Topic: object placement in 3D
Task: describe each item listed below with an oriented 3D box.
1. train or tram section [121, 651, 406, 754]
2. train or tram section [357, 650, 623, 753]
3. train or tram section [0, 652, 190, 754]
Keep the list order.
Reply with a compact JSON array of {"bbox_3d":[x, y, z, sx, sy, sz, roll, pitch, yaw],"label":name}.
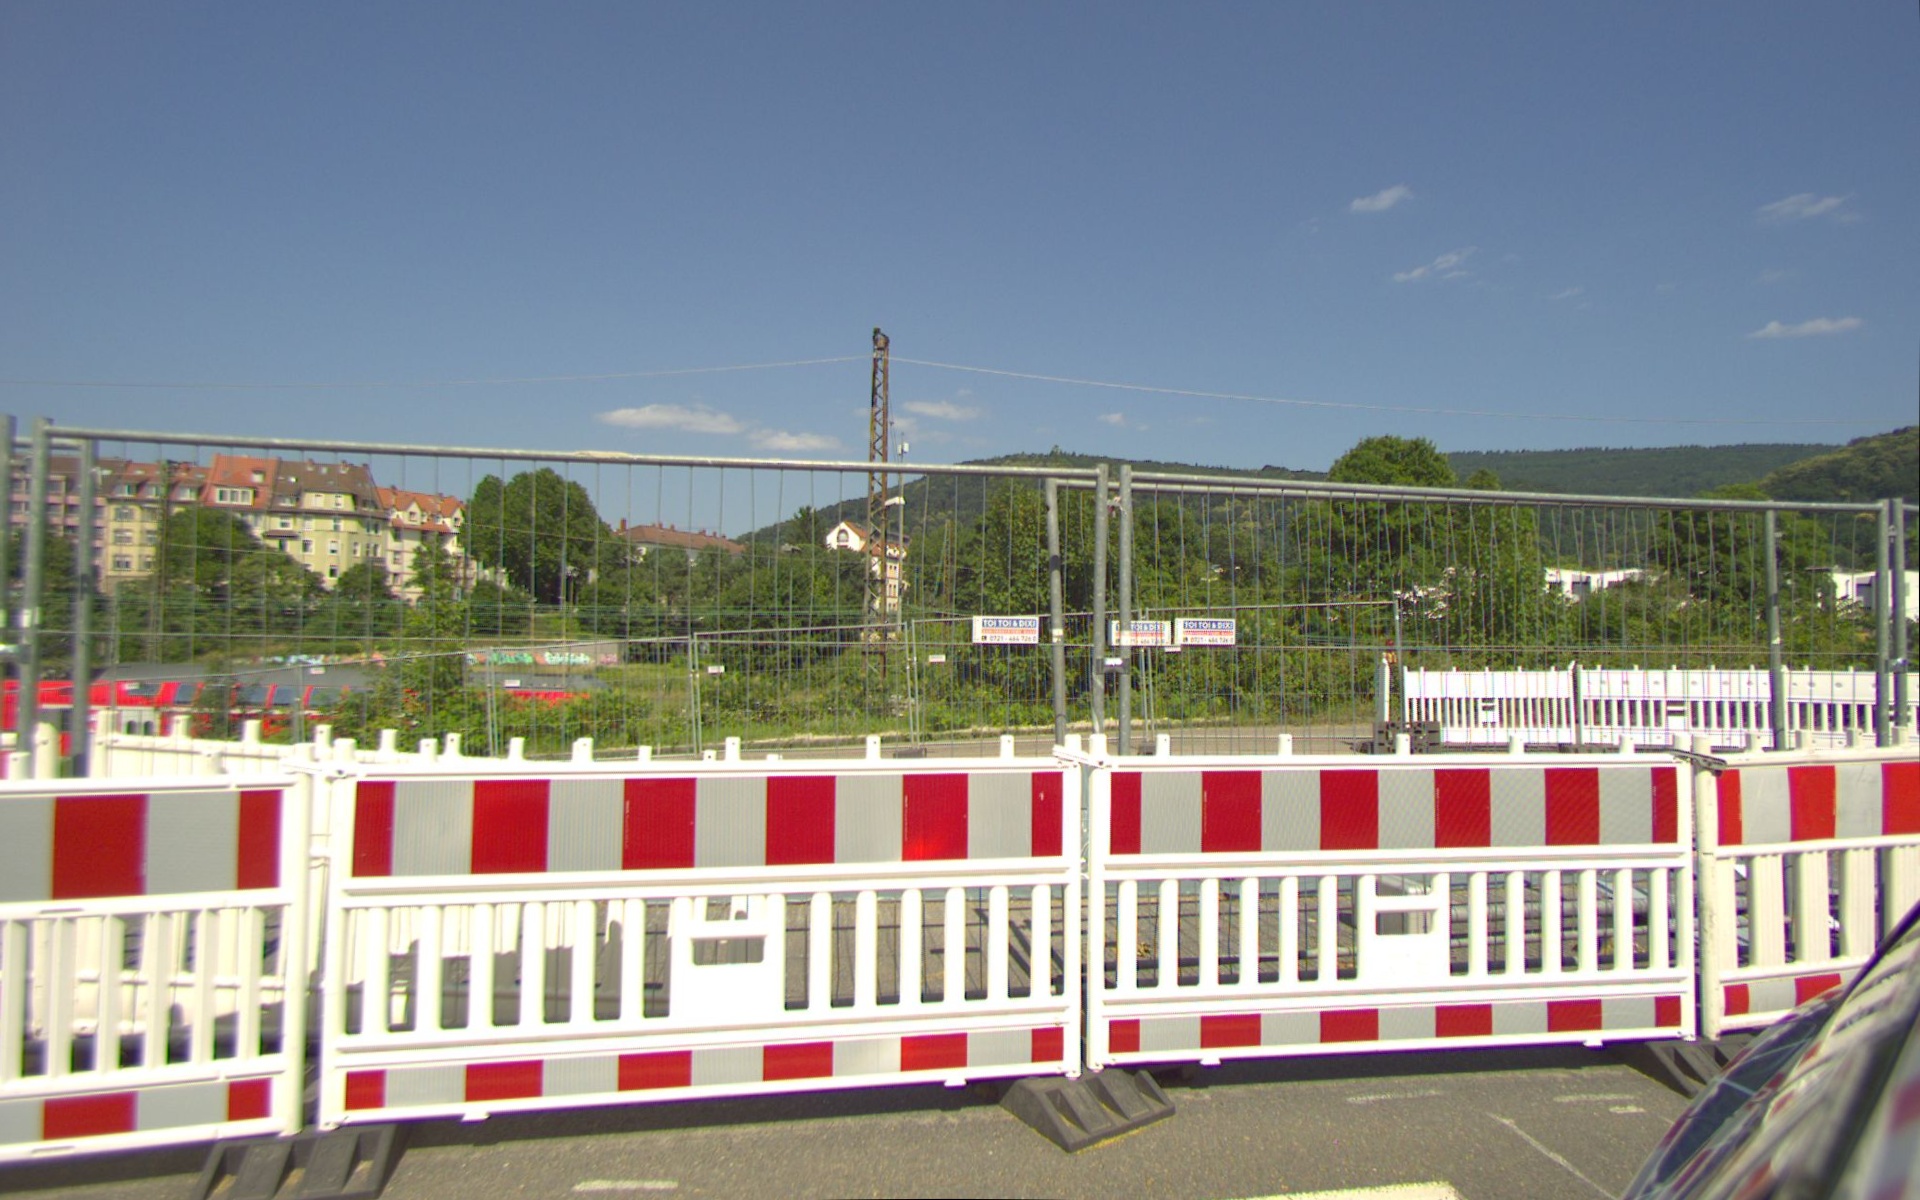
[{"bbox_3d":[-26.636,3.874,39.040,8.802,3.763,3.022,0,-4,0],"label":"train or tram section"},{"bbox_3d":[-17.909,3.842,38.997,8.802,3.751,3.022,0,-4,0],"label":"train or tram section"},{"bbox_3d":[-35.377,3.924,39.135,8.802,3.761,3.022,0,-4,0],"label":"train or tram section"}]
